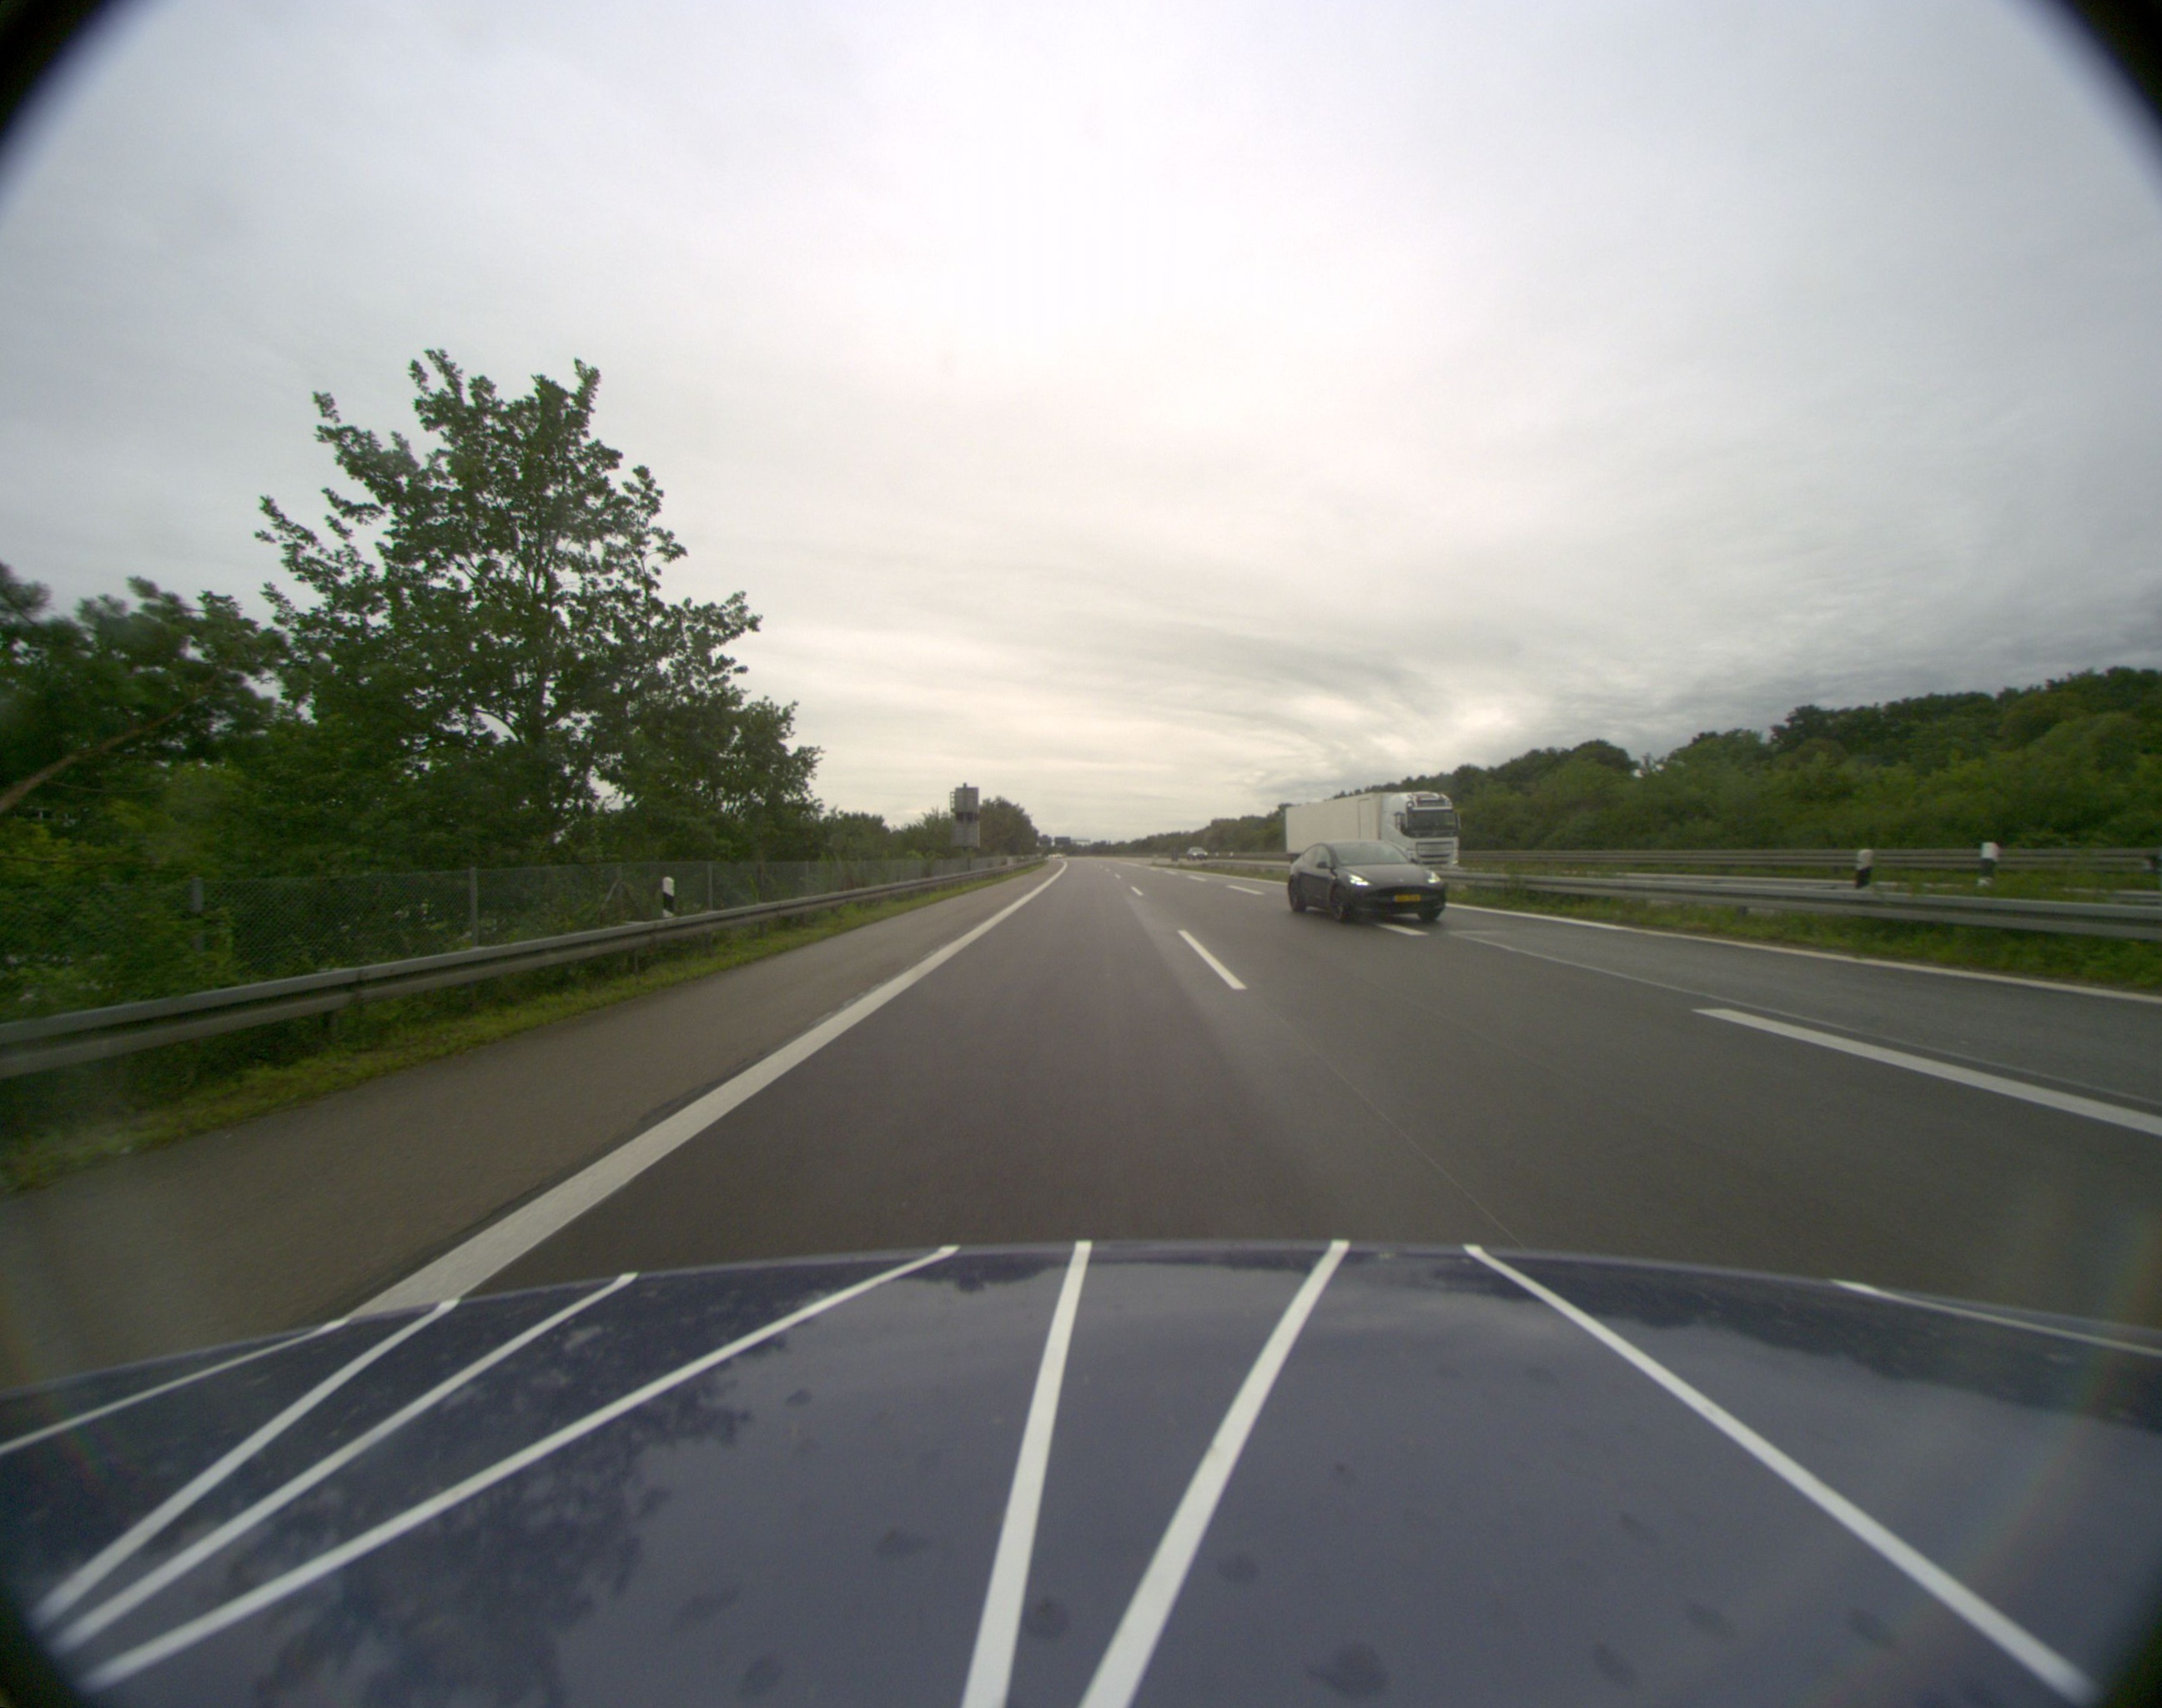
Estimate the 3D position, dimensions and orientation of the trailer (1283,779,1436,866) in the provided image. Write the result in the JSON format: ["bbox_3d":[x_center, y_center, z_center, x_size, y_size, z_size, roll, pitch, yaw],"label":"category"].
[{"bbox_3d":[15.250,-1.576,43.490,2.774,4.111,13.945,-2,1,-3],"label":"trailer"}]

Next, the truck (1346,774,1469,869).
[{"bbox_3d":[15.640,-1.473,36.985,2.774,4.111,6.442,-2,1,-4],"label":"truck"}]

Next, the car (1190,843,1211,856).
[{"bbox_3d":[16.283,-0.616,103.827,1.904,1.641,4.484,-2,1,-2],"label":"car"}]

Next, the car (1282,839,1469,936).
[{"bbox_3d":[5.755,0.542,15.551,1.966,1.628,4.553,-2,1,-1],"label":"car"}]
